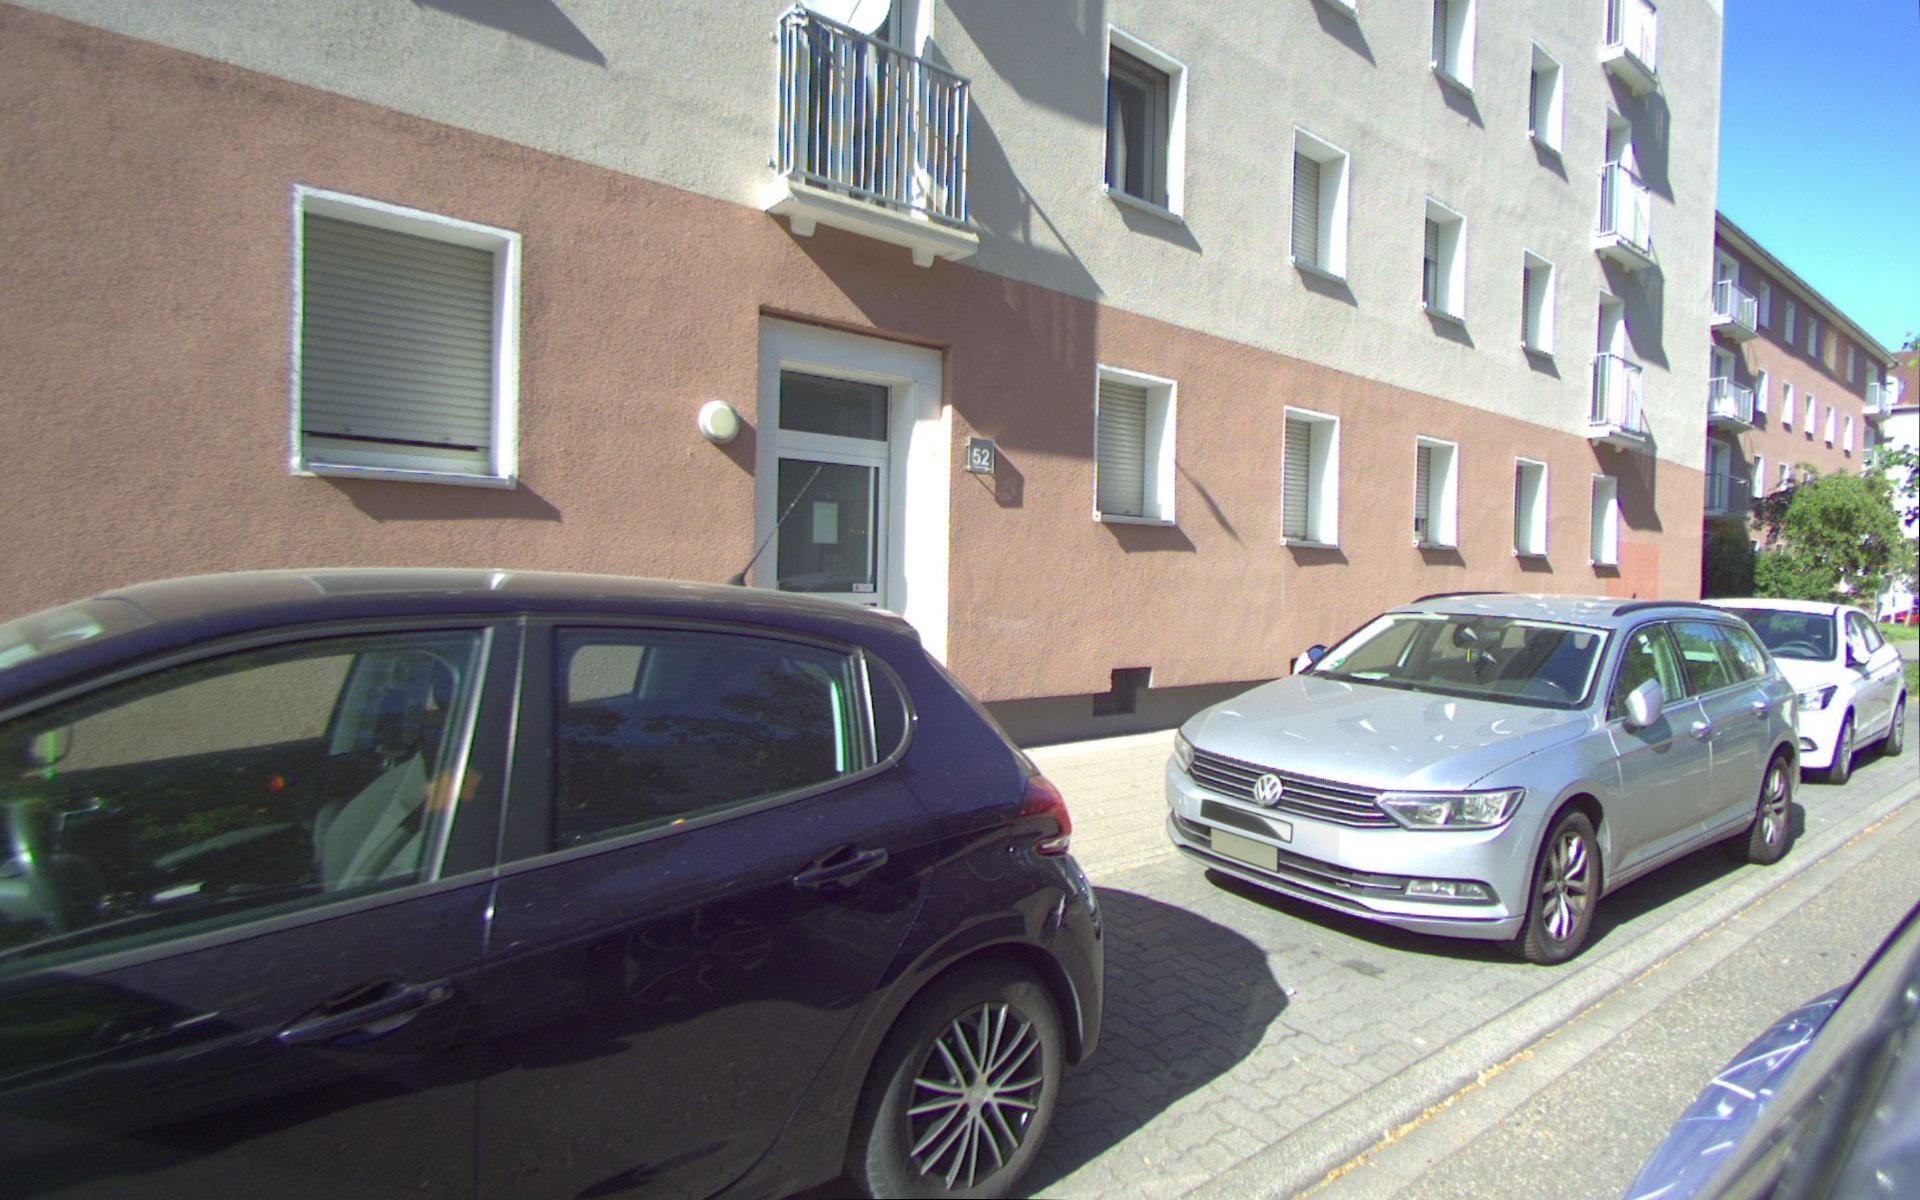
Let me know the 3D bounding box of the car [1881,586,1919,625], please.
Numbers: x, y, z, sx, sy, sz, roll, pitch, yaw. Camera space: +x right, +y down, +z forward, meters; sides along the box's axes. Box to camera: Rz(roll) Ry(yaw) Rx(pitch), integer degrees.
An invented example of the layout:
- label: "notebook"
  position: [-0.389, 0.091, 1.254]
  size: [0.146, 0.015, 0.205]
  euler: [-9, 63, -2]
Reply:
- label: "car"
  position: [51.762, 0.328, 53.205]
  size: [1.966, 2.038, 4.750]
  euler: [0, 2, -42]

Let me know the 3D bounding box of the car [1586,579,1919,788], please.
- label: "car"
  position: [7.583, 0.619, 9.523]
  size: [3.727, 1.504, 1.736]
  euler: [0, 3, -40]

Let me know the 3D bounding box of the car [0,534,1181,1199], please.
- label: "car"
  position: [-1.373, 0.635, 2.223]
  size: [3.643, 1.498, 1.713]
  euler: [0, 2, -39]

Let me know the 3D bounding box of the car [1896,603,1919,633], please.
- label: "car"
  position: [48.148, 0.933, 49.215]
  size: [1.539, 1.419, 3.649]
  euler: [0, 2, -38]

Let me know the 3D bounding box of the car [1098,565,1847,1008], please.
- label: "car"
  position: [2.998, 0.615, 5.504]
  size: [4.432, 1.478, 1.792]
  euler: [0, 3, -36]
